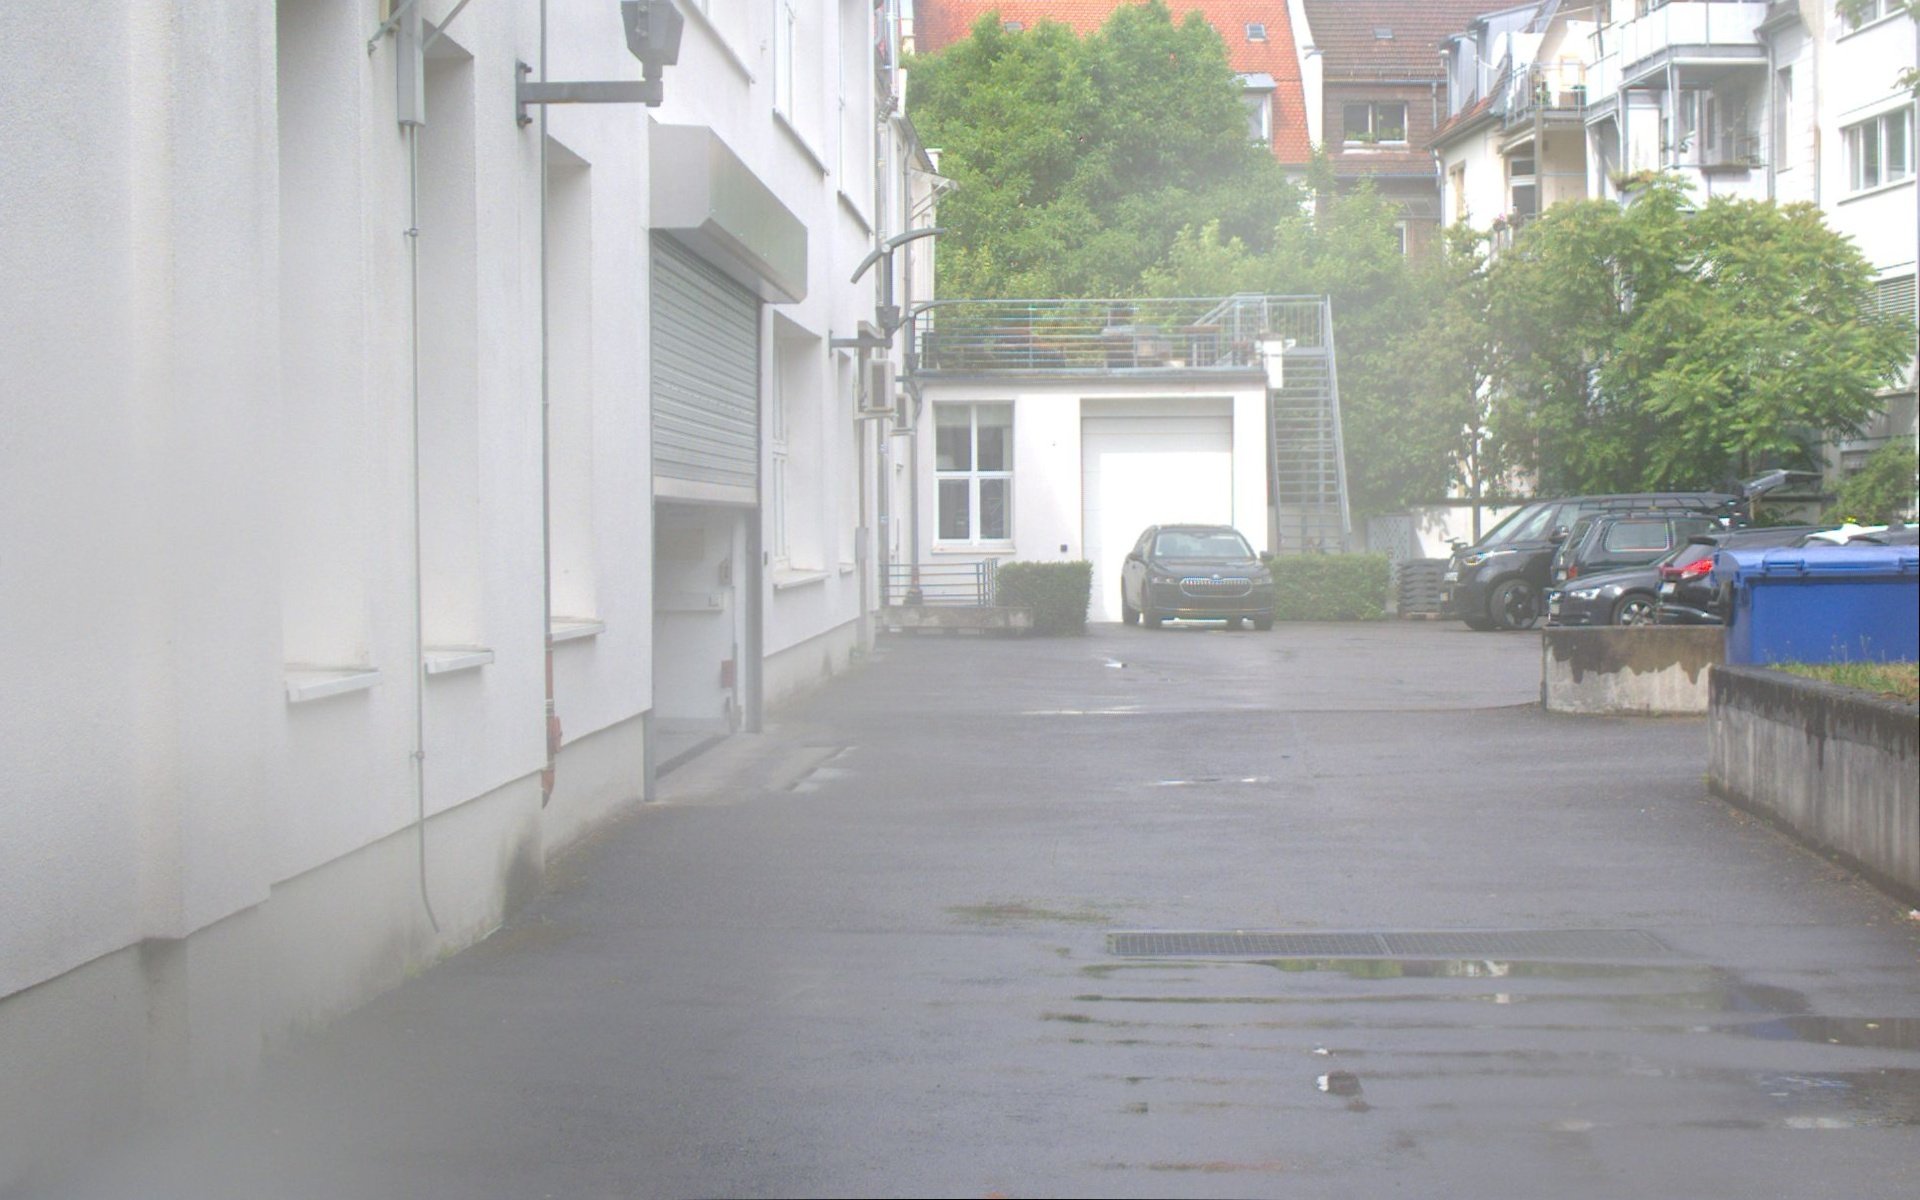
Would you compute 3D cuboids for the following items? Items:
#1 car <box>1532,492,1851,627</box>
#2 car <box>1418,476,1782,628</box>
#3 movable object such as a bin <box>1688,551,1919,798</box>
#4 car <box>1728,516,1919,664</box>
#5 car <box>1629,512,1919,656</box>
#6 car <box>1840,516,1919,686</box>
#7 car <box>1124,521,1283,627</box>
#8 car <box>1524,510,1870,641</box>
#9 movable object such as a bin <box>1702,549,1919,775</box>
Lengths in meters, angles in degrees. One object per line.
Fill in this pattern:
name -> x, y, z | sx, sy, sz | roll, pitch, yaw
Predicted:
car -> 9.883, -0.553, 46.661 | 3.909, 1.681, 1.817 | -2, 1, 1
car -> 9.155, -0.716, 49.418 | 4.634, 1.996, 2.226 | -2, 2, -8
movable object such as a bin -> 4.810, 0.396, 19.082 | 1.337, 1.287, 1.095 | -1, 2, 4
car -> 10.177, -0.147, 35.563 | 3.986, 1.453, 1.773 | -1, 1, -3
car -> 9.755, -0.210, 38.847 | 3.908, 1.508, 1.820 | -2, 1, -5
car -> 10.057, -0.064, 30.481 | 3.987, 1.440, 1.807 | -2, 1, -1
car -> 3.454, -0.410, 49.390 | 1.979, 1.439, 4.000 | 0, 2, 0
car -> 9.288, -0.313, 43.505 | 3.908, 1.508, 1.752 | -2, 1, -3
movable object such as a bin -> 5.287, 0.361, 20.833 | 1.372, 1.300, 1.083 | -1, 1, 4
